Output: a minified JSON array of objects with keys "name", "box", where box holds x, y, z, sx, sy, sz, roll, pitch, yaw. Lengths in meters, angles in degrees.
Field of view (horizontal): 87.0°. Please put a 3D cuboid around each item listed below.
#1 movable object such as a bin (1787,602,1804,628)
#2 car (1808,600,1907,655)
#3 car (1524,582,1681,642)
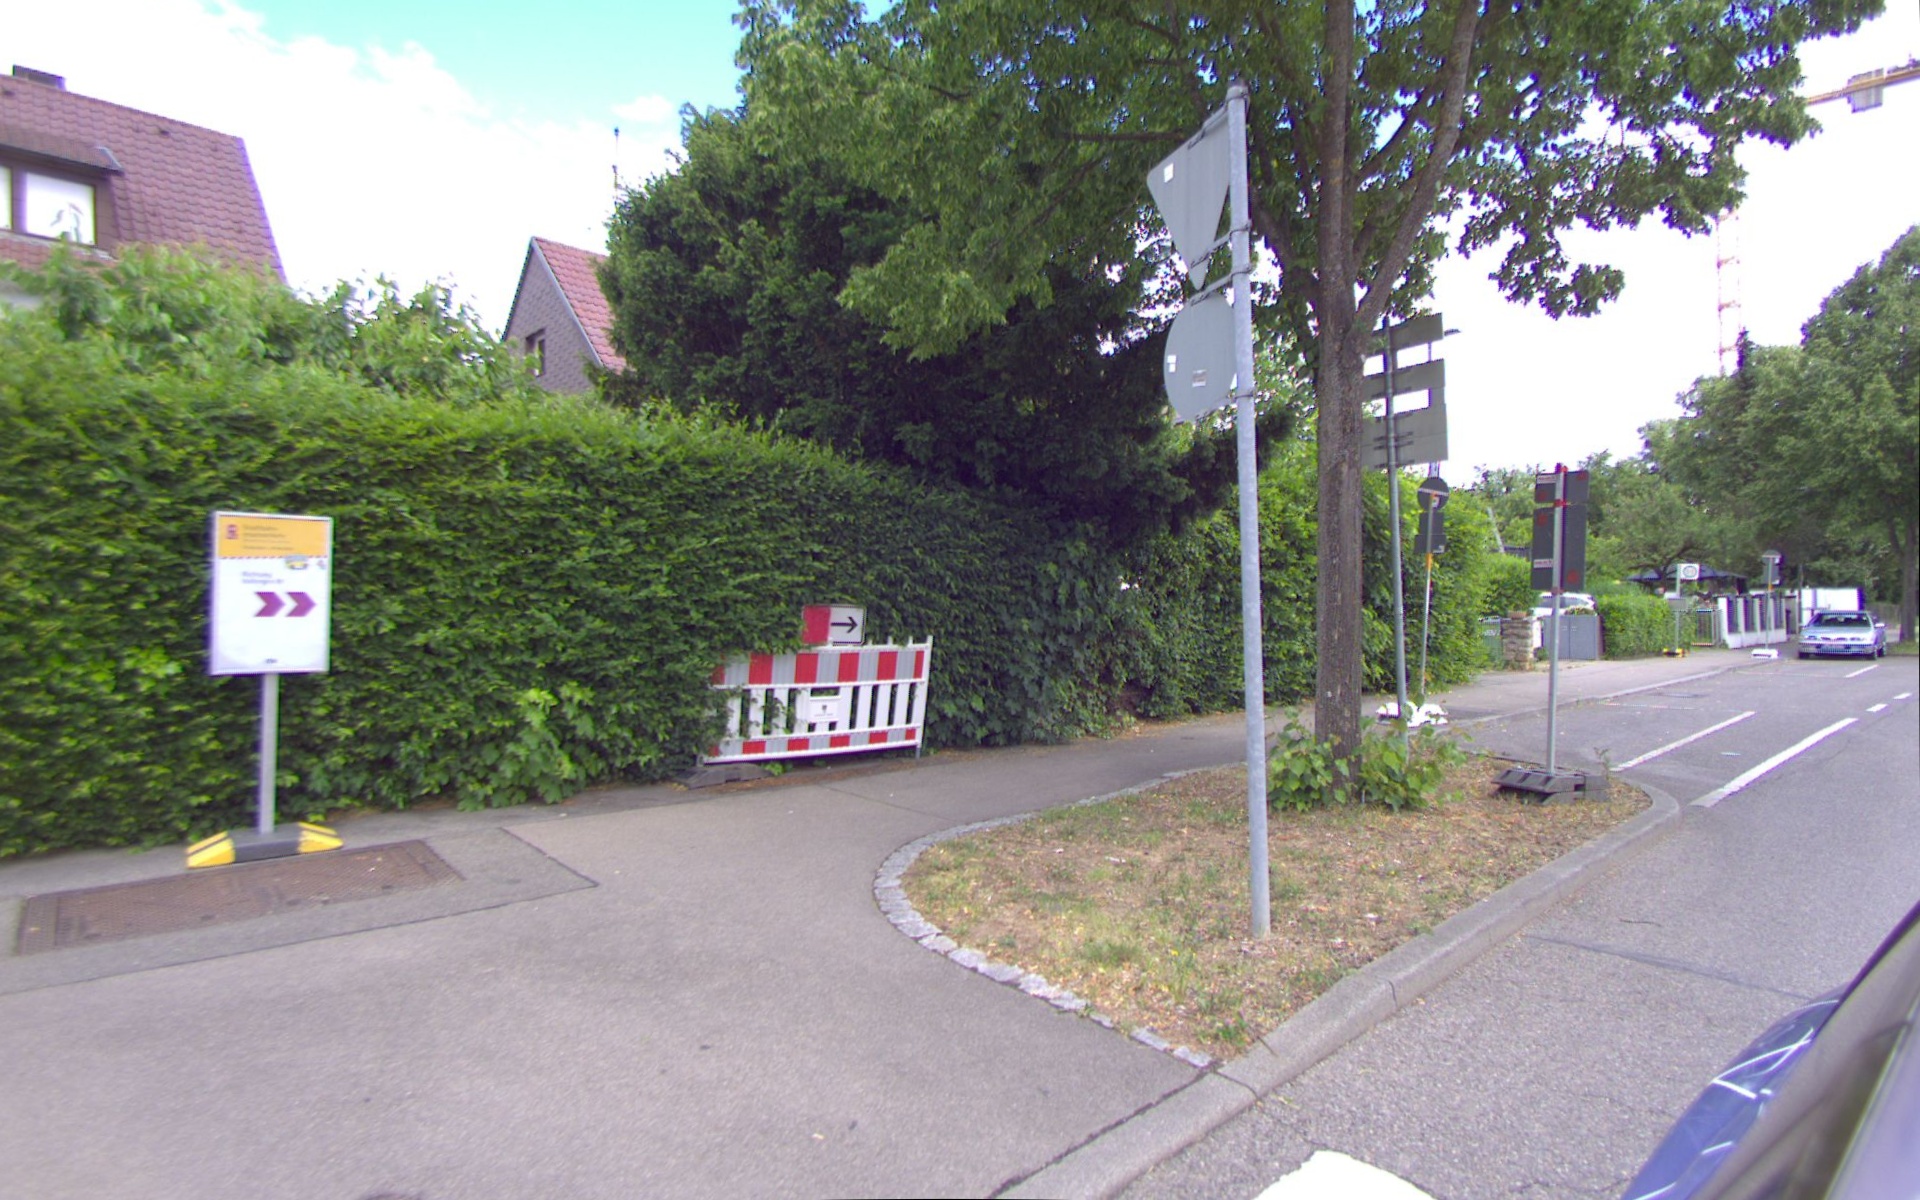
[{"name":"movable object such as a bin","box":[33.408,0.586,40.470,0.446,1.035,0.437,0,-1,-40]},{"name":"car","box":[26.129,0.753,29.422,4.312,1.394,1.614,-2,0,-41]},{"name":"car","box":[21.050,0.378,33.250,1.967,1.846,3.990,0,-1,-43]}]
